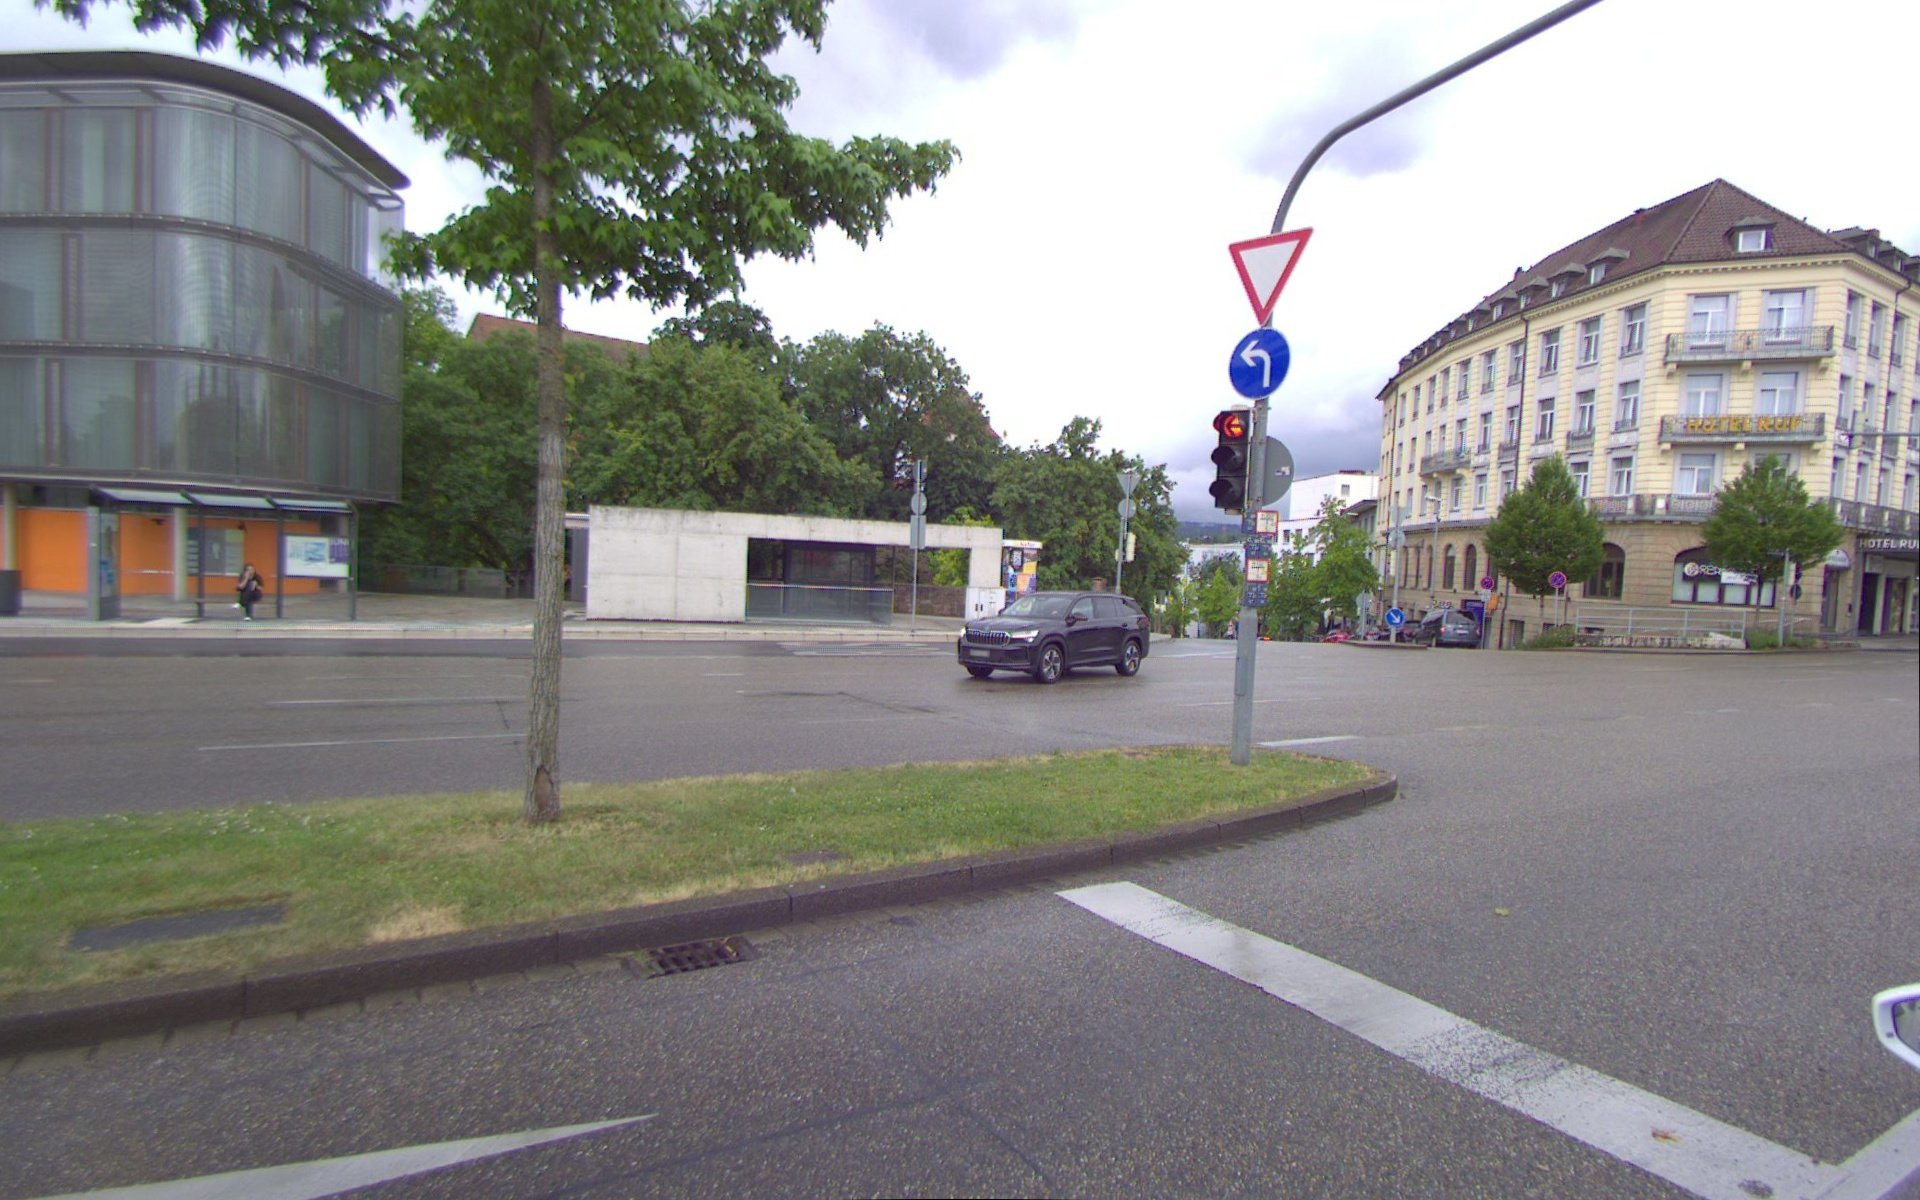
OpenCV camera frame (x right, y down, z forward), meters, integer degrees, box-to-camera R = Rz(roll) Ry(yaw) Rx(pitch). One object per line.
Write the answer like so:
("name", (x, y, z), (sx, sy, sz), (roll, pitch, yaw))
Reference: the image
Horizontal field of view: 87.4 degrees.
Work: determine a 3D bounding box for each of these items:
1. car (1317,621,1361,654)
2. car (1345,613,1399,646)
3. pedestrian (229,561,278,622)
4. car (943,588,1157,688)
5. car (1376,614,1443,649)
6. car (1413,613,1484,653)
("car", (23.821, 2.321, 63.229), (1.741, 1.836, 3.624), (2, 1, 7))
("car", (23.398, 1.628, 57.174), (1.757, 1.662, 3.916), (2, 1, 6))
("pedestrian", (-15.842, -0.187, 22.546), (0.780, 1.341, 0.798), (1, 1, -28))
("car", (1.870, 0.660, 19.446), (1.800, 1.662, 4.578), (2, 1, 40))
("car", (23.144, 1.583, 51.875), (1.959, 1.662, 4.002), (2, 0, 6))
("car", (21.973, 1.455, 45.368), (1.764, 1.589, 4.002), (2, 1, 9))
